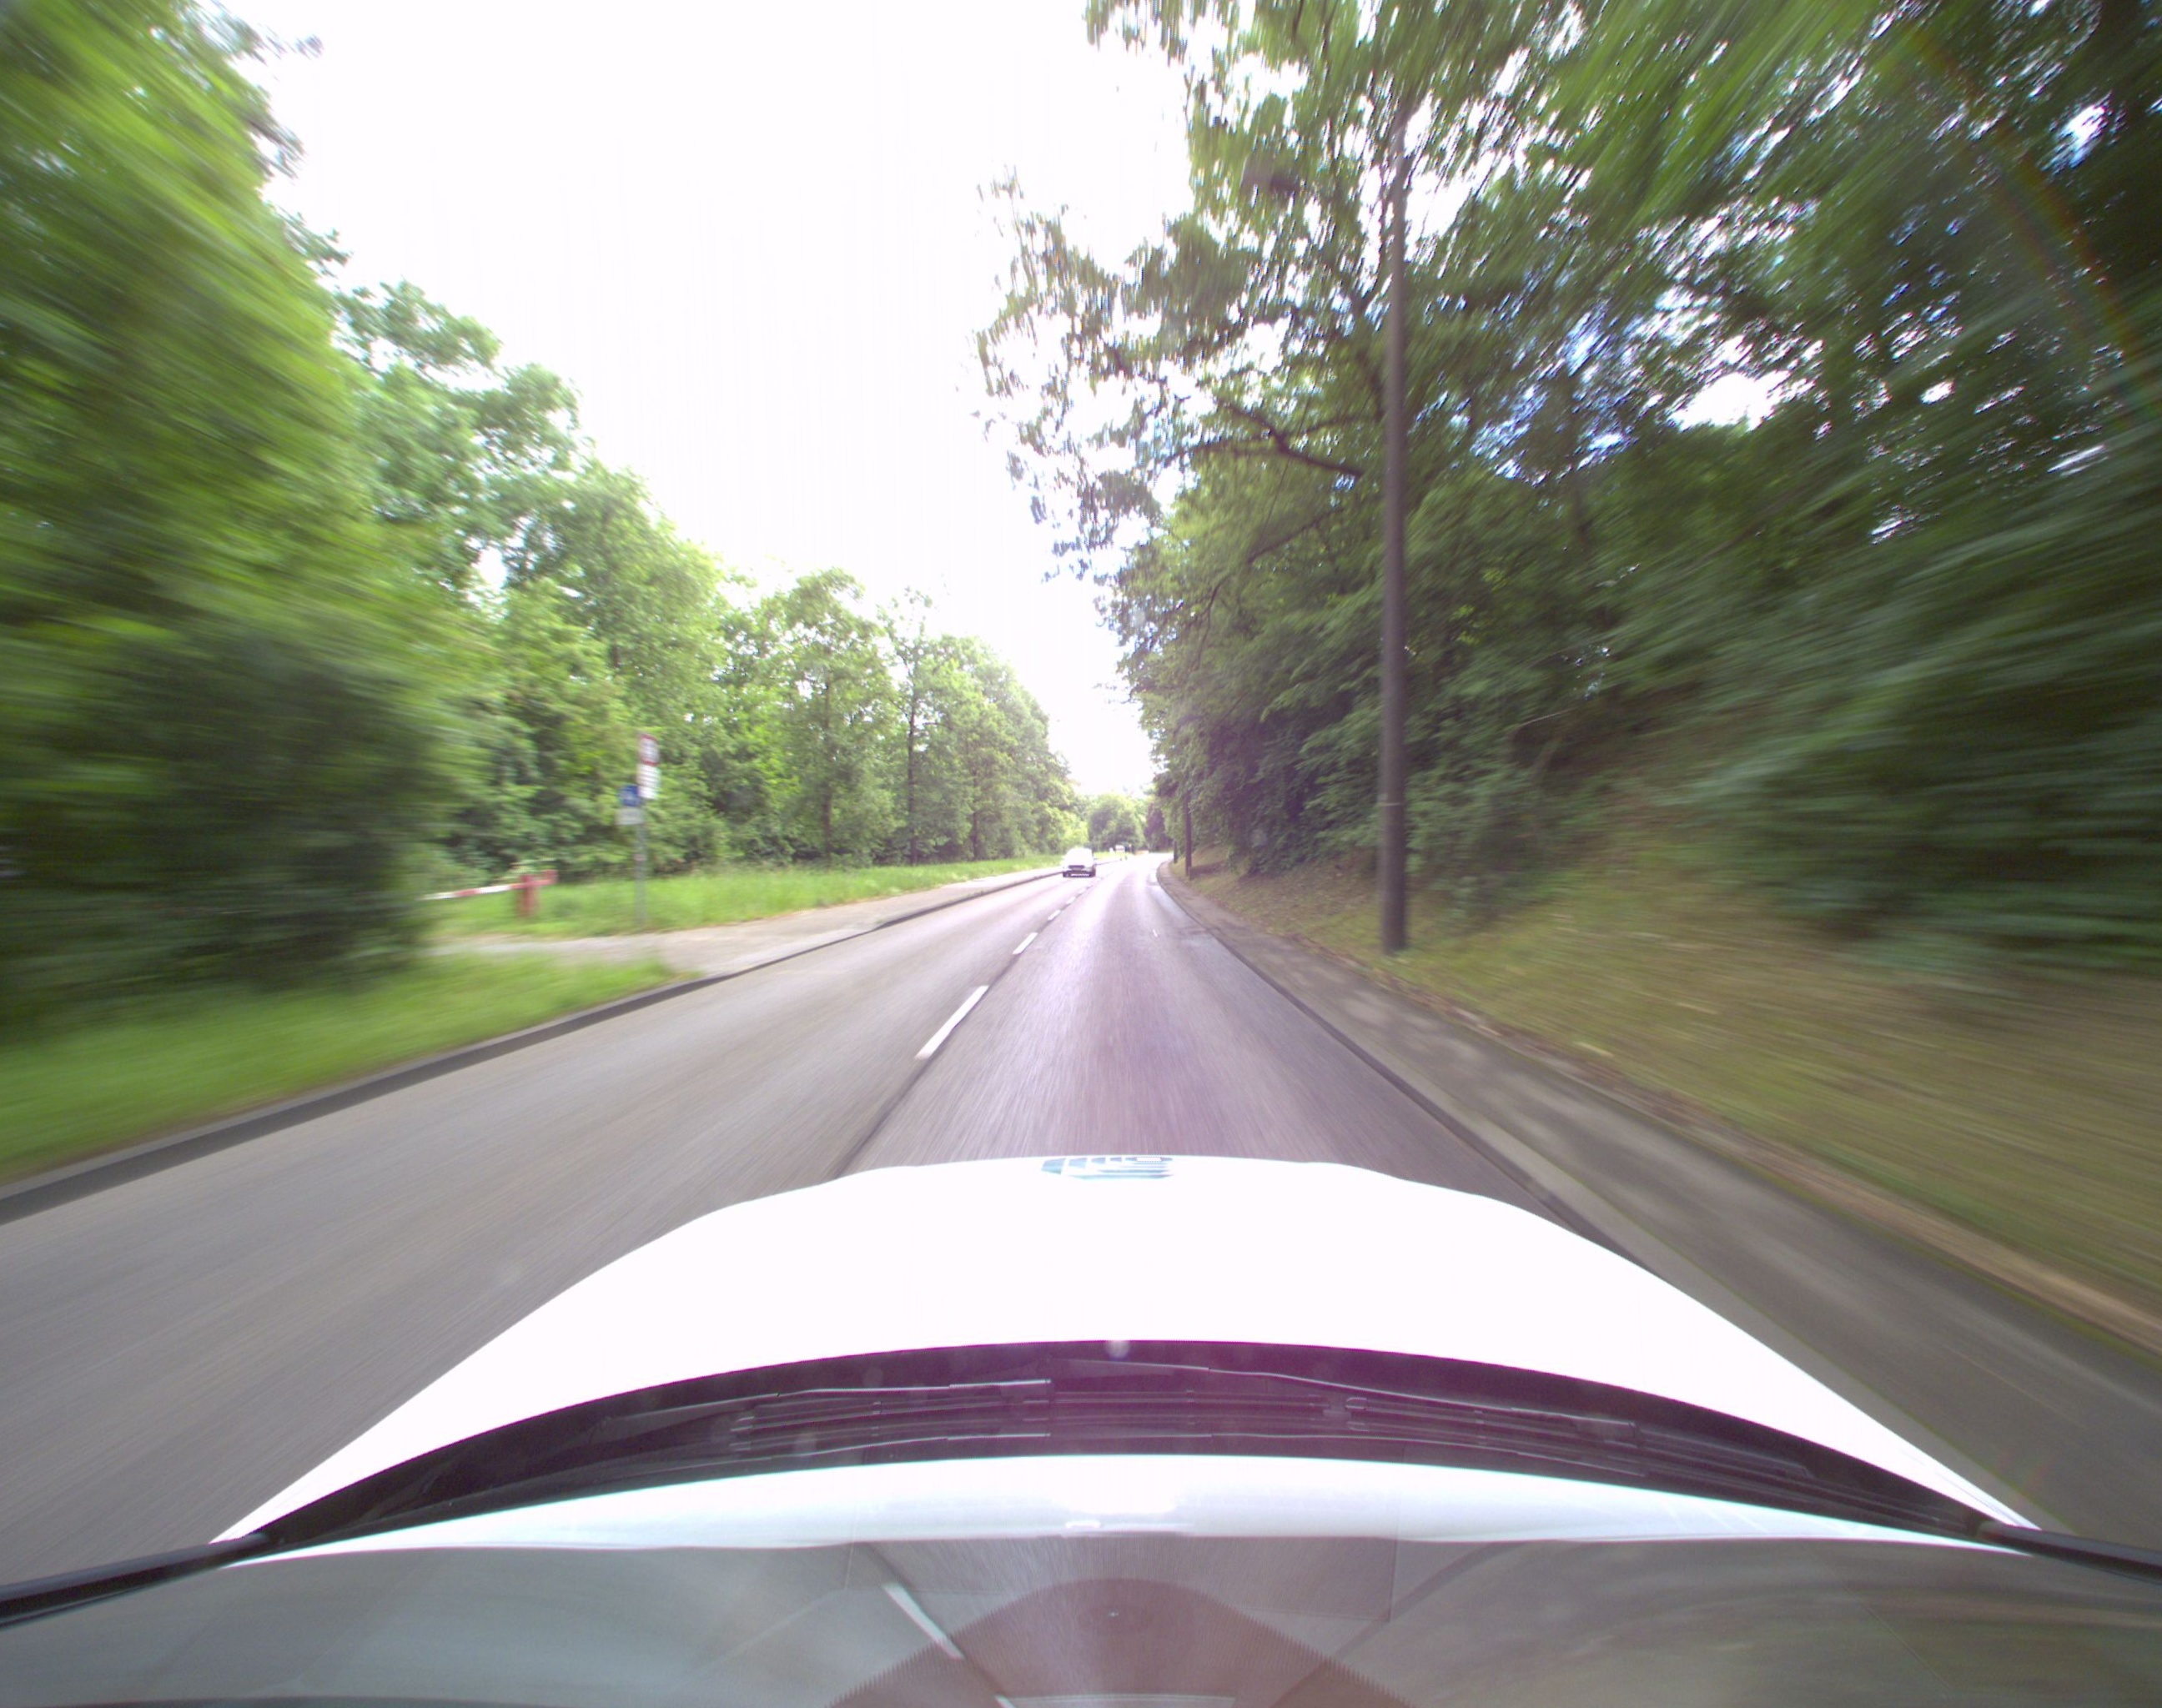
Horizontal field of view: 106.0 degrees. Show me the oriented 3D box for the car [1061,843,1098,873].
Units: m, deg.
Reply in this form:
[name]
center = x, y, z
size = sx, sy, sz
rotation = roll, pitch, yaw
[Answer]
[car]
center = -0.047, 0.288, 50.268
size = 1.985, 1.753, 4.786
rotation = 0, -1, 3
